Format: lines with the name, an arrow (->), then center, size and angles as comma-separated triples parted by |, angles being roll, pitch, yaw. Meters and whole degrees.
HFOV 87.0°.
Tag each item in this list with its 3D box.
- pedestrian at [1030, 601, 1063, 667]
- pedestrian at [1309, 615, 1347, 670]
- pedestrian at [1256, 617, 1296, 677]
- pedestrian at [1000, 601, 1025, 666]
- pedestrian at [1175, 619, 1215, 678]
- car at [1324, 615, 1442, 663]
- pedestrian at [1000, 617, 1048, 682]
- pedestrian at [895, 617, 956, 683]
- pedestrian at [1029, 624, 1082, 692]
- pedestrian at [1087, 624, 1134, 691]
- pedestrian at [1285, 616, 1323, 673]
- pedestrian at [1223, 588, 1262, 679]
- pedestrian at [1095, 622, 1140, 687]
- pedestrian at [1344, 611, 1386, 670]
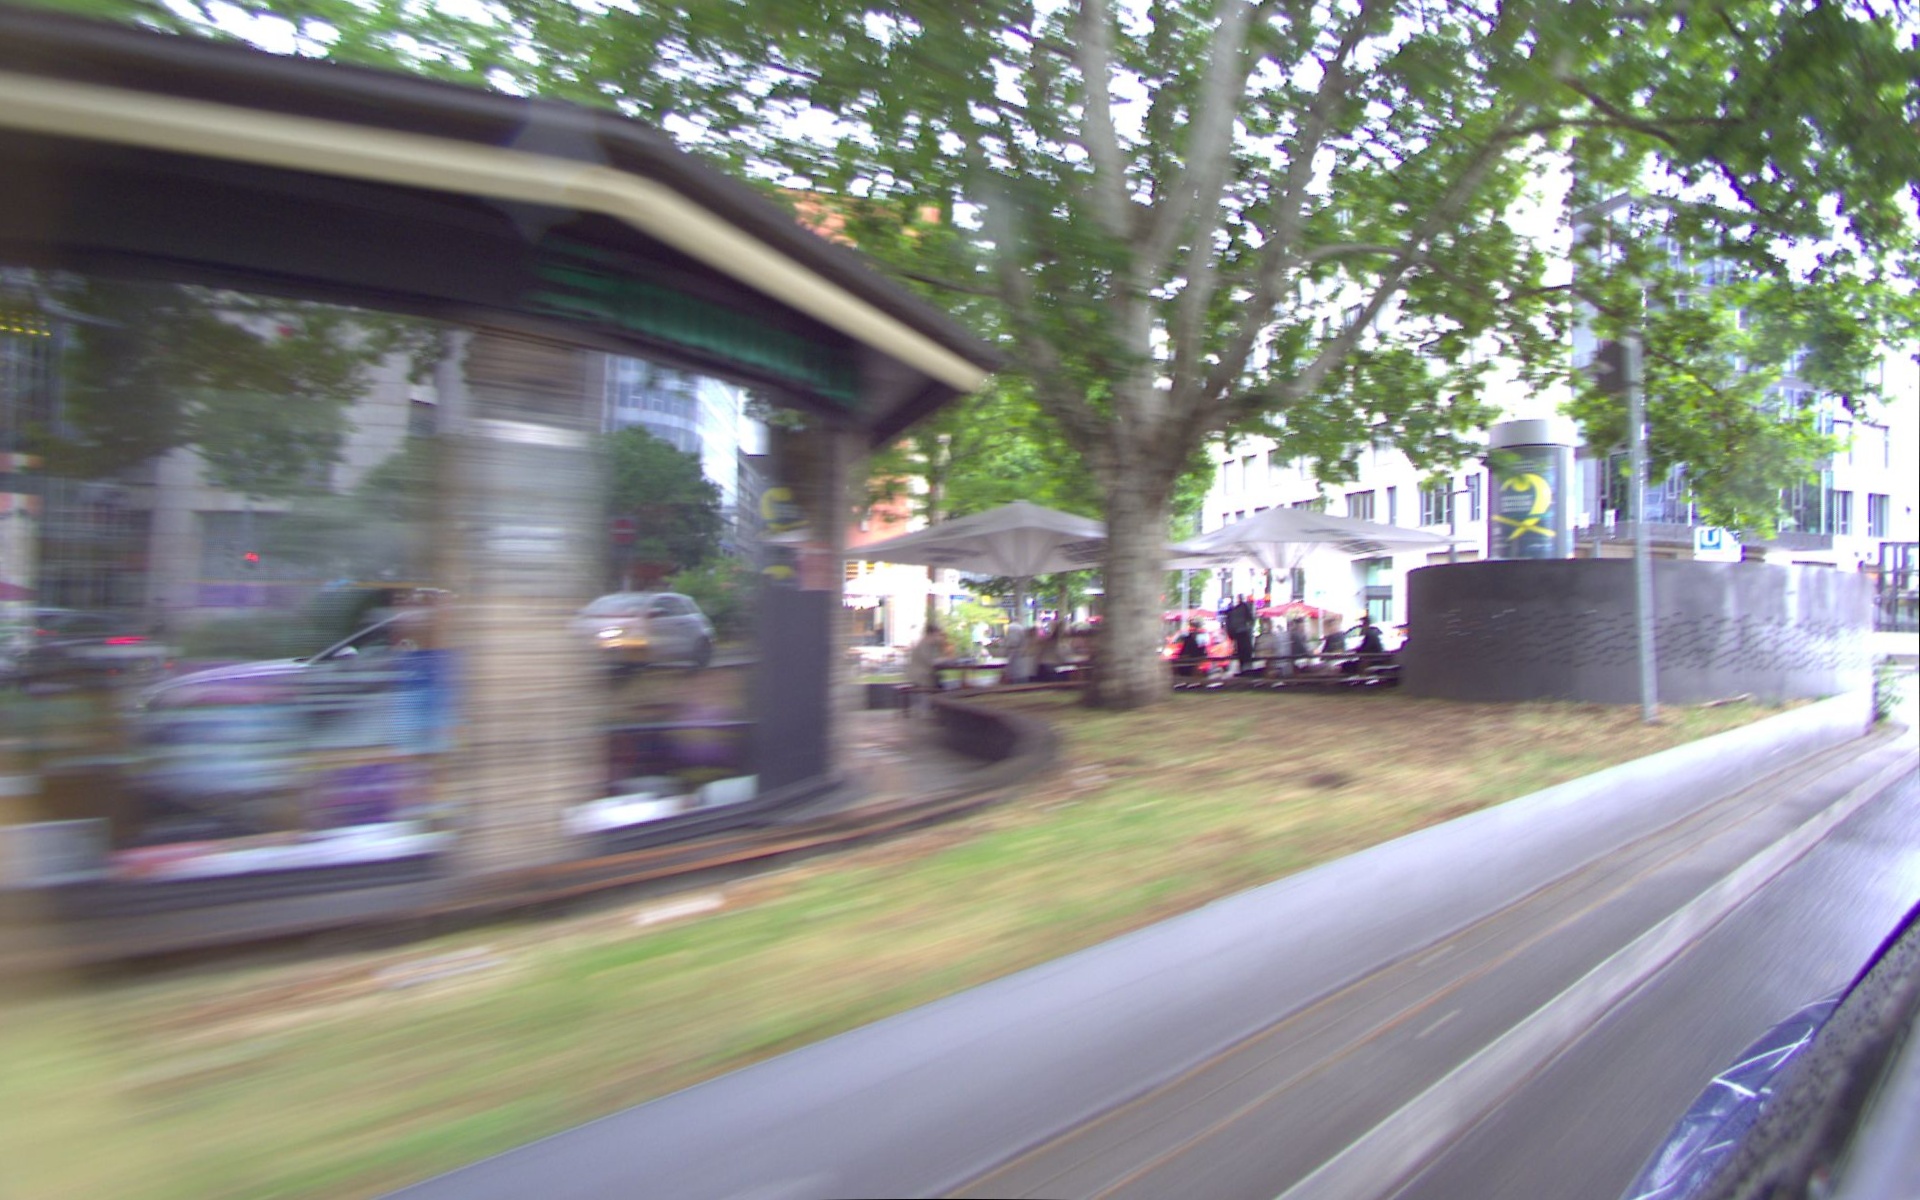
pedestrian -> 2.681, 1.050, 31.521 | 0.976, 2.000, 0.946 | 0, 0, 2
pedestrian -> 6.103, 0.700, 16.799 | 0.566, 0.883, 0.506 | 0, 0, 18
pedestrian -> 4.863, 0.712, 15.568 | 0.566, 0.883, 0.738 | 0, 0, 18
pedestrian -> 1.659, 1.051, 32.066 | 0.738, 2.000, 0.946 | 0, 0, 2
pedestrian -> 3.720, 0.758, 16.022 | 0.566, 0.883, 0.563 | 0, 0, 18
car -> 14.488, 1.306, 34.918 | 1.617, 1.459, 3.896 | 1, 1, -17
pedestrian -> 0.915, 0.692, 14.413 | 0.566, 0.883, 0.506 | 0, 0, 18
pedestrian -> -0.479, 0.698, 14.352 | 0.689, 0.883, 0.651 | 0, 0, 18
pedestrian -> 1.309, 0.782, 13.824 | 0.618, 0.883, 0.506 | 0, 0, 18
pedestrian -> 2.081, 0.778, 13.952 | 0.566, 0.883, 0.506 | 0, 0, 18
pedestrian -> 5.535, 0.705, 16.300 | 0.566, 0.883, 0.506 | 0, 0, 18
pedestrian -> 4.113, 0.473, 14.705 | 0.523, 1.292, 0.401 | 0, 0, 19
pedestrian -> 2.260, 0.774, 14.529 | 0.566, 0.883, 0.506 | 0, 0, 18
pedestrian -> 6.284, 0.623, 15.718 | 0.566, 0.883, 0.506 | 0, 0, 18
